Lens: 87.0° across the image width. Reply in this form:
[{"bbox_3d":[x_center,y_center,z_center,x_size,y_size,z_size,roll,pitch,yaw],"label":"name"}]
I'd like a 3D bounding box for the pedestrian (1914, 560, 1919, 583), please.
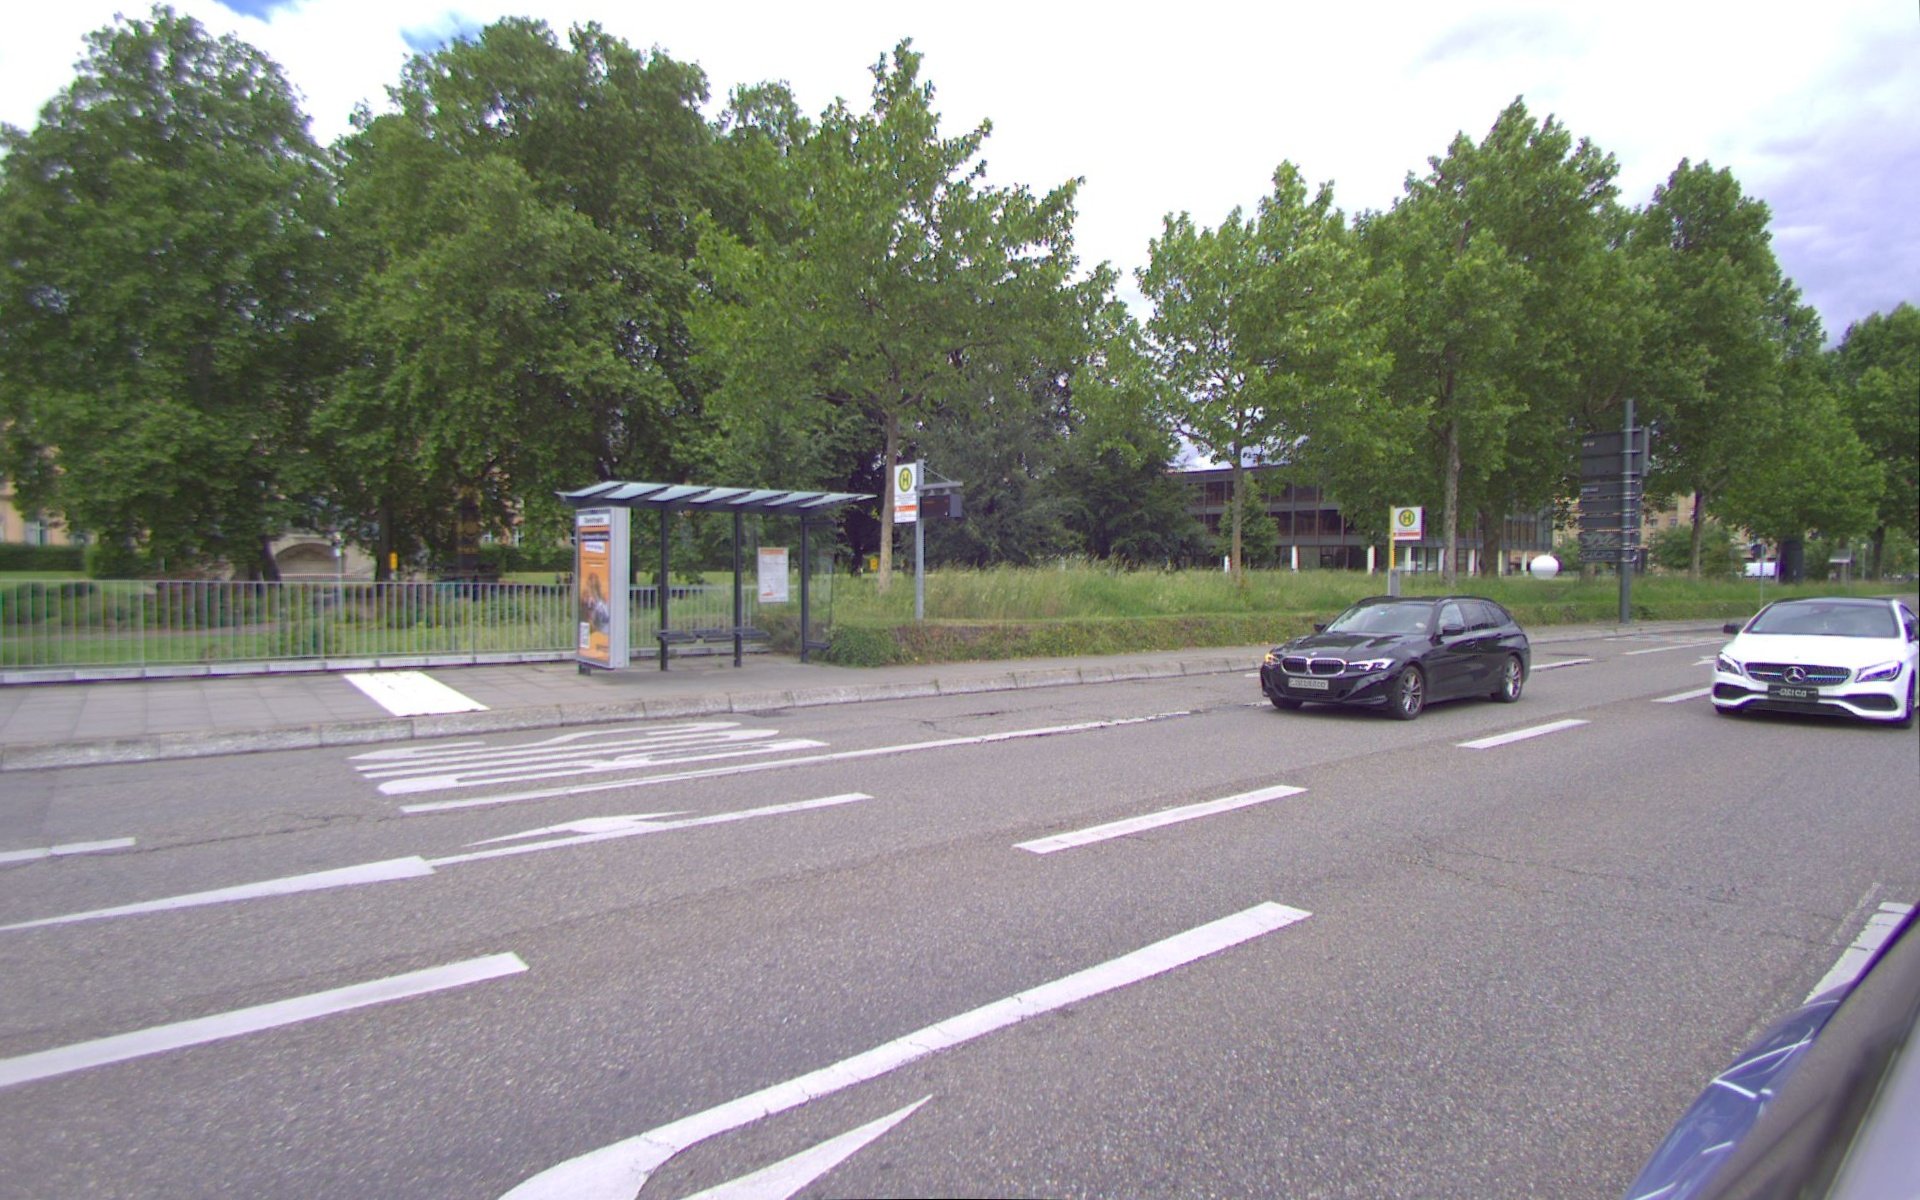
[{"bbox_3d":[84.819,-2.510,89.181,1.160,2.039,0.891,-2,0,-40],"label":"pedestrian"}]

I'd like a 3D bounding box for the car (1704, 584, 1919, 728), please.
[{"bbox_3d":[10.969,0.541,12.533,4.446,1.437,1.798,-1,2,-40],"label":"car"}]

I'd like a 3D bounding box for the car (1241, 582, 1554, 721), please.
[{"bbox_3d":[5.863,0.543,13.337,4.446,1.478,1.936,-2,1,-39],"label":"car"}]
